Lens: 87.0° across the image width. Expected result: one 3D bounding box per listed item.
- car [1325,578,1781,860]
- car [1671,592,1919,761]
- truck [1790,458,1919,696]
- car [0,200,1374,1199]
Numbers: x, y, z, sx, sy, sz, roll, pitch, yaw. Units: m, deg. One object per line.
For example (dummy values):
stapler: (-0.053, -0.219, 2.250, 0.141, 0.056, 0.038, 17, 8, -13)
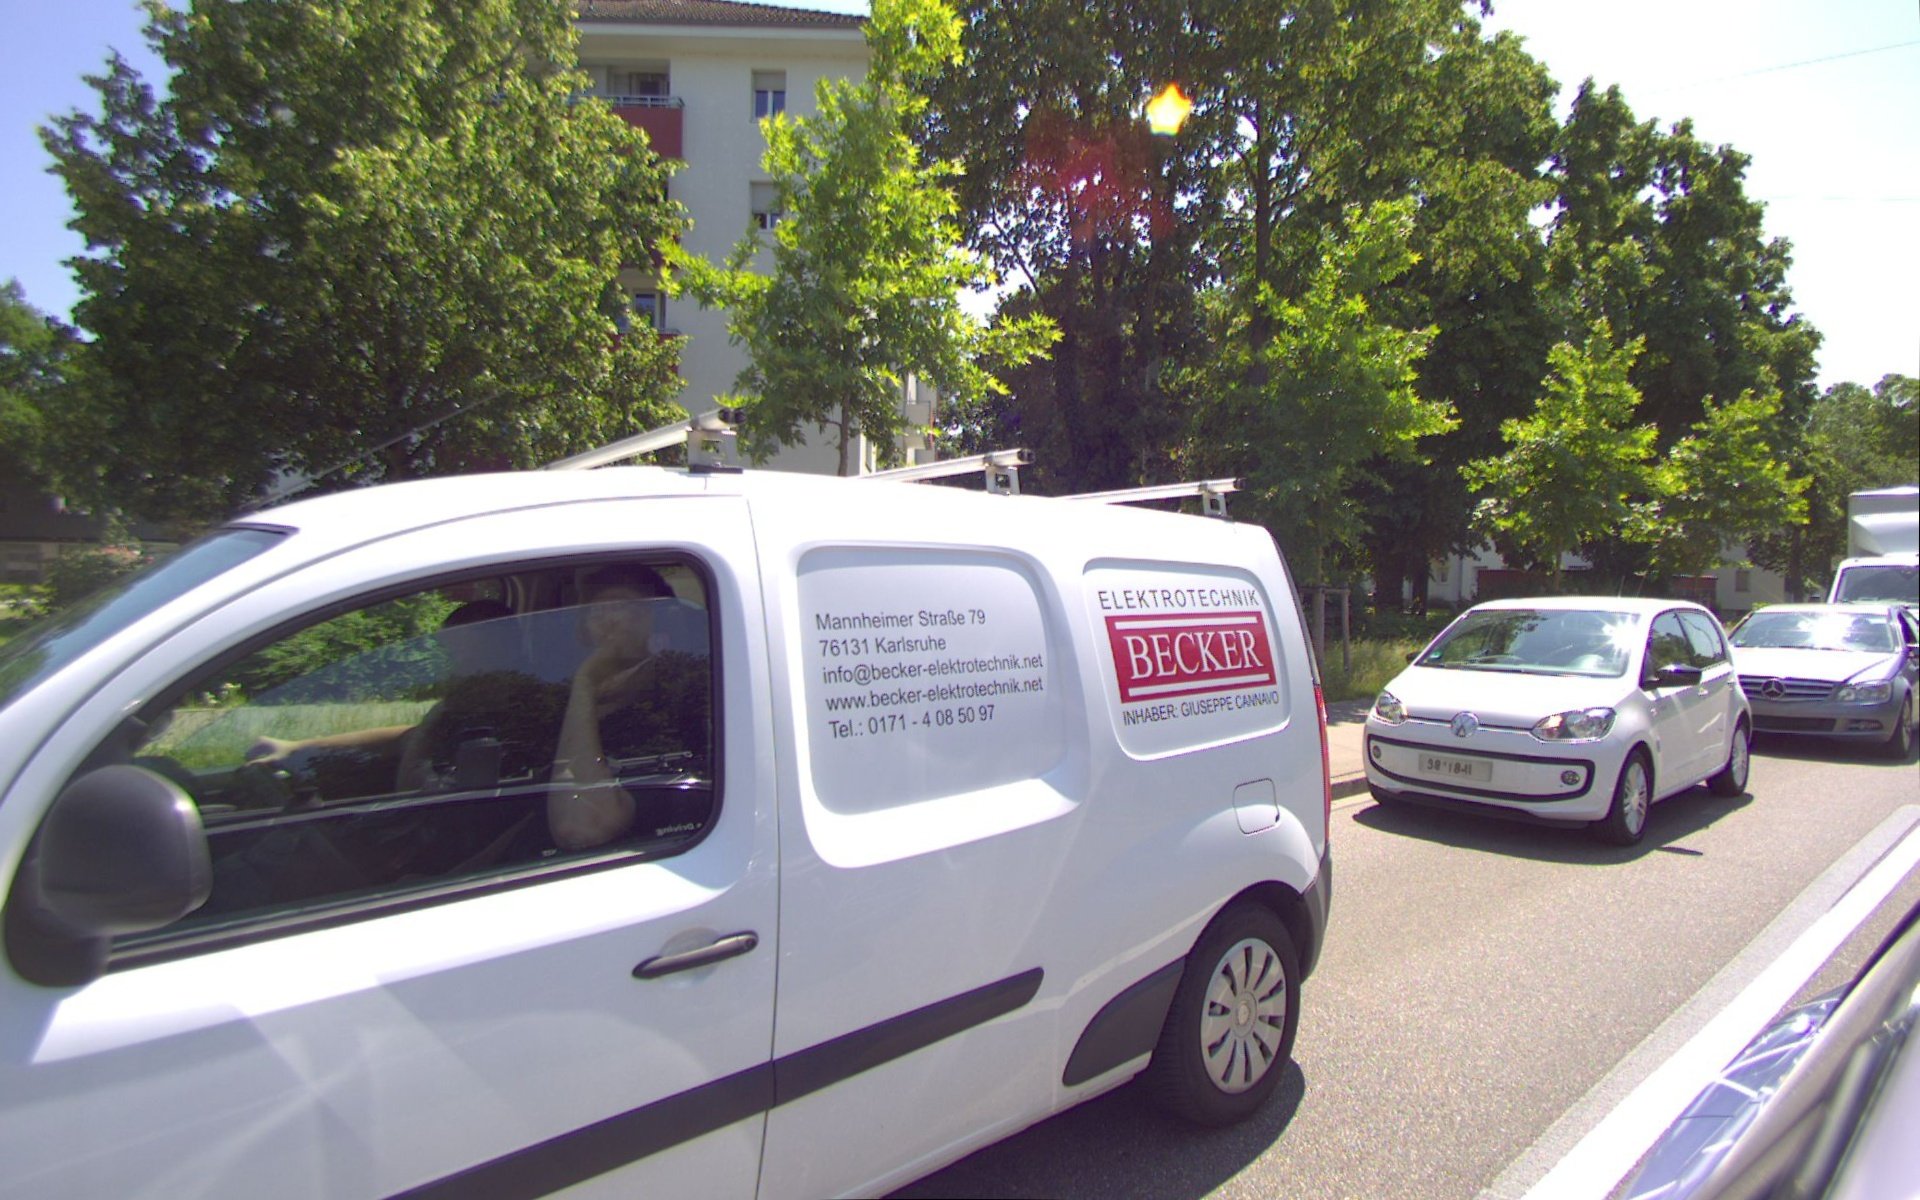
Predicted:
car: (4.397, 0.618, 7.291, 3.705, 1.497, 1.729, 0, 1, -41)
car: (9.231, 0.651, 10.741, 4.016, 1.426, 1.839, 0, 1, -41)
truck: (16.514, -0.341, 16.976, 7.778, 3.387, 2.434, 0, 1, -39)
car: (-0.996, 0.451, 2.537, 4.370, 1.849, 1.997, 0, 1, -41)
